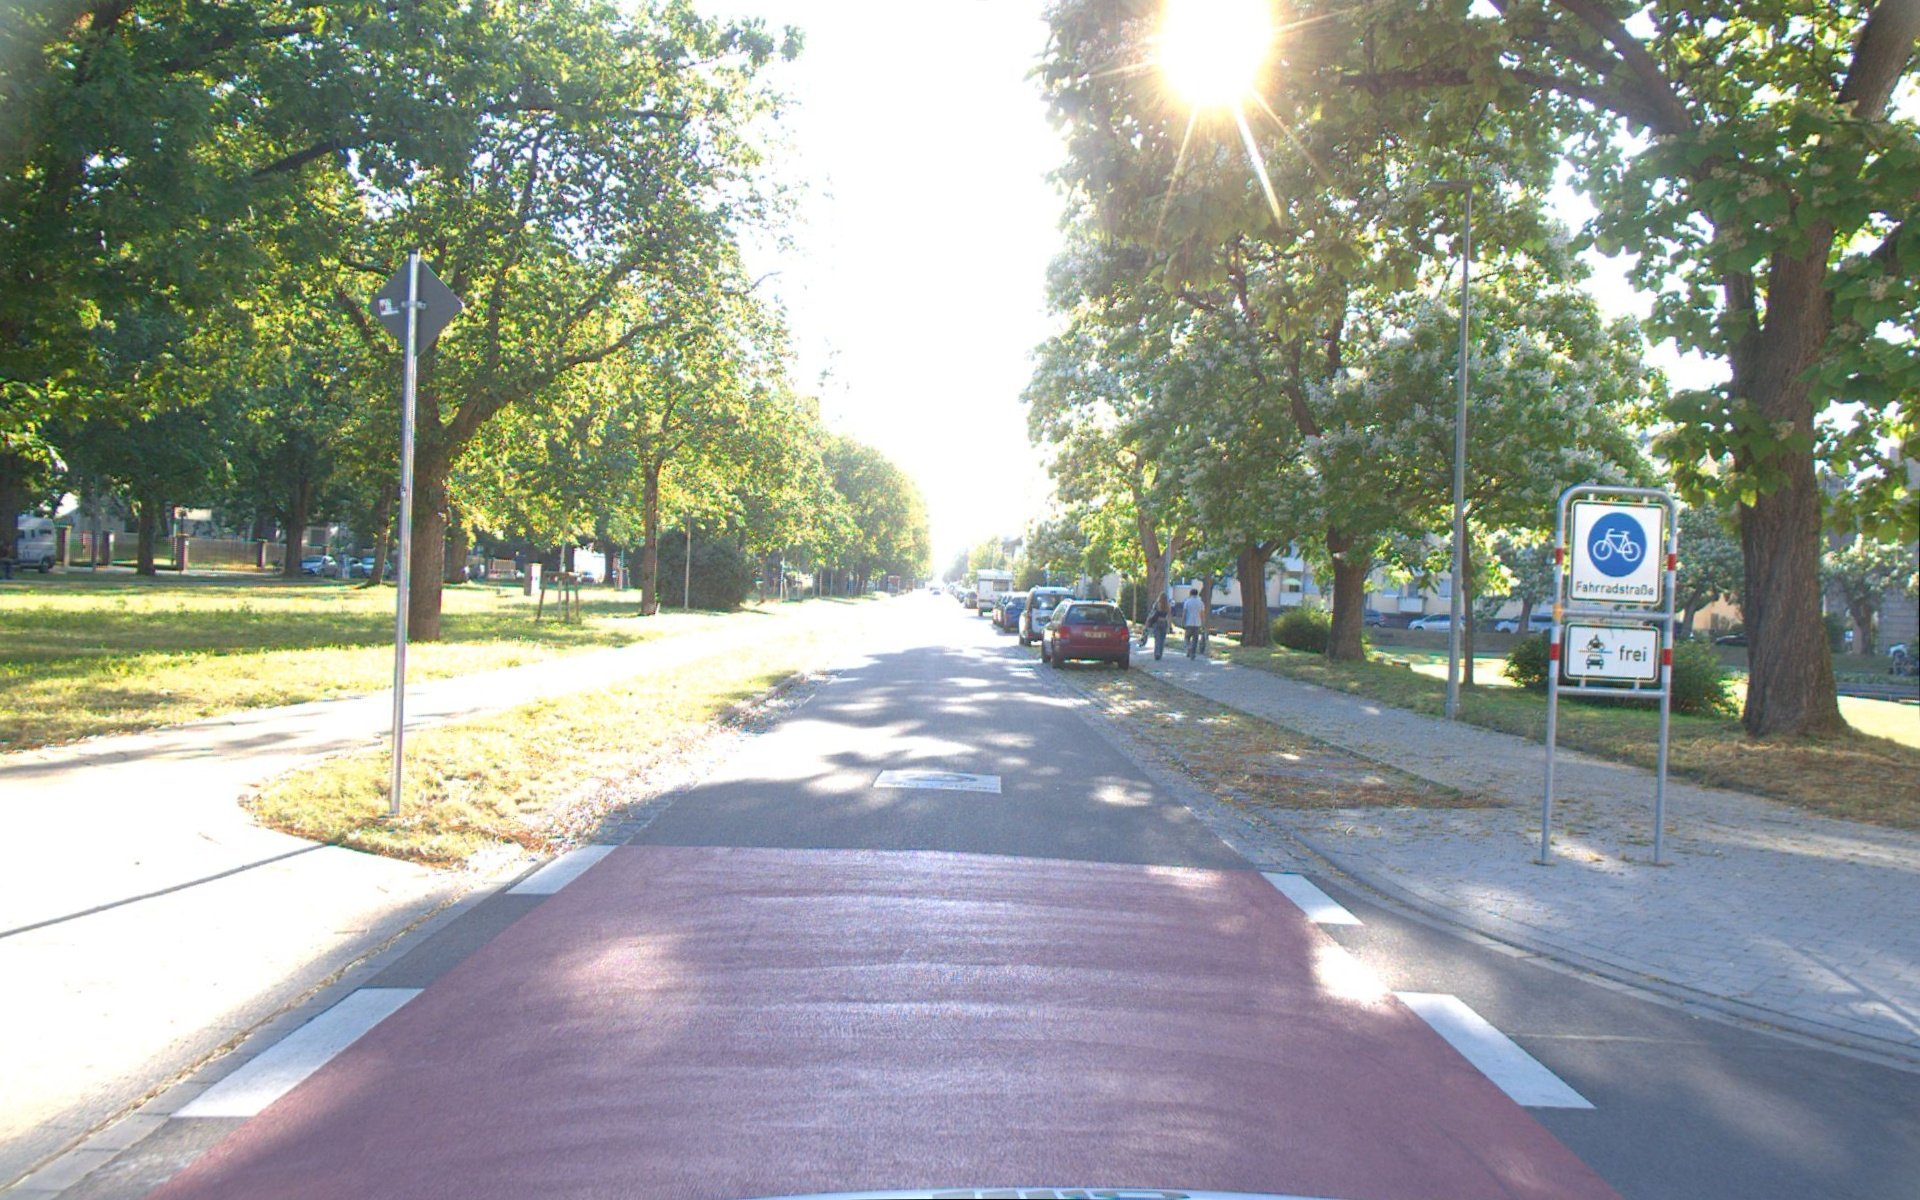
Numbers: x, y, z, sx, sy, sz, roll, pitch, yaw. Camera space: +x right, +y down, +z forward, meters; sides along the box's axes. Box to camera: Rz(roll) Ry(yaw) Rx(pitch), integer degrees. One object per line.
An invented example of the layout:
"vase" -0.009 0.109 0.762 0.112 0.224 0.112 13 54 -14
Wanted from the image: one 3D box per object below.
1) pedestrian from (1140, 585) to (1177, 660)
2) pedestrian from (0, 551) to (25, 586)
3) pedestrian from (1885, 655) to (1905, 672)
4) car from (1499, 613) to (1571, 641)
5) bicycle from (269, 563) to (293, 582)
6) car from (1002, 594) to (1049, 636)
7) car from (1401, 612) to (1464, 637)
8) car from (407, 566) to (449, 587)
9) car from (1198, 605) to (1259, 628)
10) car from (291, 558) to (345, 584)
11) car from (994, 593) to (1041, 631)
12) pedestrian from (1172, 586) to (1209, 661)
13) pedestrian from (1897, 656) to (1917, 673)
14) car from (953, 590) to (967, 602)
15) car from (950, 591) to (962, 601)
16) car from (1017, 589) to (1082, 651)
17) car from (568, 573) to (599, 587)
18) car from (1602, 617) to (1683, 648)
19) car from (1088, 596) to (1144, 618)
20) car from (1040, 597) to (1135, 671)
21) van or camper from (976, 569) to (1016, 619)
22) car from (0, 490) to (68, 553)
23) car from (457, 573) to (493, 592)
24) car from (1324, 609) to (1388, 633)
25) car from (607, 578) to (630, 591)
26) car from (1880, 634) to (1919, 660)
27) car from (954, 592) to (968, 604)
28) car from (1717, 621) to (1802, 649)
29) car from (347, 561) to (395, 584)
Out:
"pedestrian" 4.827 0.544 40.259 0.738 1.766 0.731 3 0 0
"pedestrian" -27.948 -0.937 48.579 0.536 1.004 0.610 2 0 5
"pedestrian" 47.936 3.240 84.795 0.575 0.808 0.665 2 0 -12
"car" 40.493 1.887 116.566 4.434 1.776 1.874 2 0 35
"bicycle" -44.203 -1.795 107.700 0.644 1.196 2.332 2 0 -3
"car" 2.623 0.581 66.913 1.696 1.578 4.275 2 0 0
"car" 32.617 1.701 114.183 3.910 1.579 1.608 2 0 27
"car" -42.286 -1.824 131.595 1.953 1.534 4.115 2 0 0
"car" 19.338 1.182 119.128 4.106 1.488 1.694 2 0 15
"car" -42.497 -1.890 109.537 1.953 1.534 4.000 2 0 0
"car" 2.516 0.524 73.163 1.697 1.578 4.421 2 0 -2
"pedestrian" 5.623 0.571 40.327 0.710 1.766 0.731 3 0 0
"pedestrian" 48.121 3.267 84.024 0.575 0.808 0.665 2 0 -12
"car" -0.038 -0.523 210.875 1.593 1.434 4.248 2 0 -1
"car" -0.589 -0.554 246.906 1.593 1.434 4.248 2 0 -1
"car" 2.746 0.599 51.494 1.644 1.770 4.513 2 0 -1
"car" -44.505 -2.352 195.763 2.456 1.534 4.912 2 0 0
"car" 43.863 2.070 106.356 4.448 1.776 1.868 2 0 43
"car" 11.913 0.526 126.475 4.107 1.557 2.001 2 0 3
"car" 2.837 0.724 37.653 1.644 1.512 4.808 2 0 -1
"van or camper" 2.256 -0.332 104.452 2.189 2.955 5.671 2 -1 -1
"car" -42.088 -3.452 72.483 2.666 2.506 6.316 2 0 -2
"car" -42.961 -1.550 146.673 1.953 1.534 4.115 2 0 0
"car" 29.349 1.560 122.626 4.417 1.597 1.881 2 0 18
"car" -43.232 -1.952 209.291 1.953 1.534 4.115 2 0 0
"car" 57.947 2.869 99.749 1.856 1.478 3.958 2 0 -31
"car" 0.119 -0.225 199.494 1.593 1.434 4.248 2 0 -1
"car" 48.703 2.133 100.829 1.861 1.478 4.308 2 0 -38
"car" -42.611 -1.961 119.819 1.953 1.534 4.115 2 0 0
